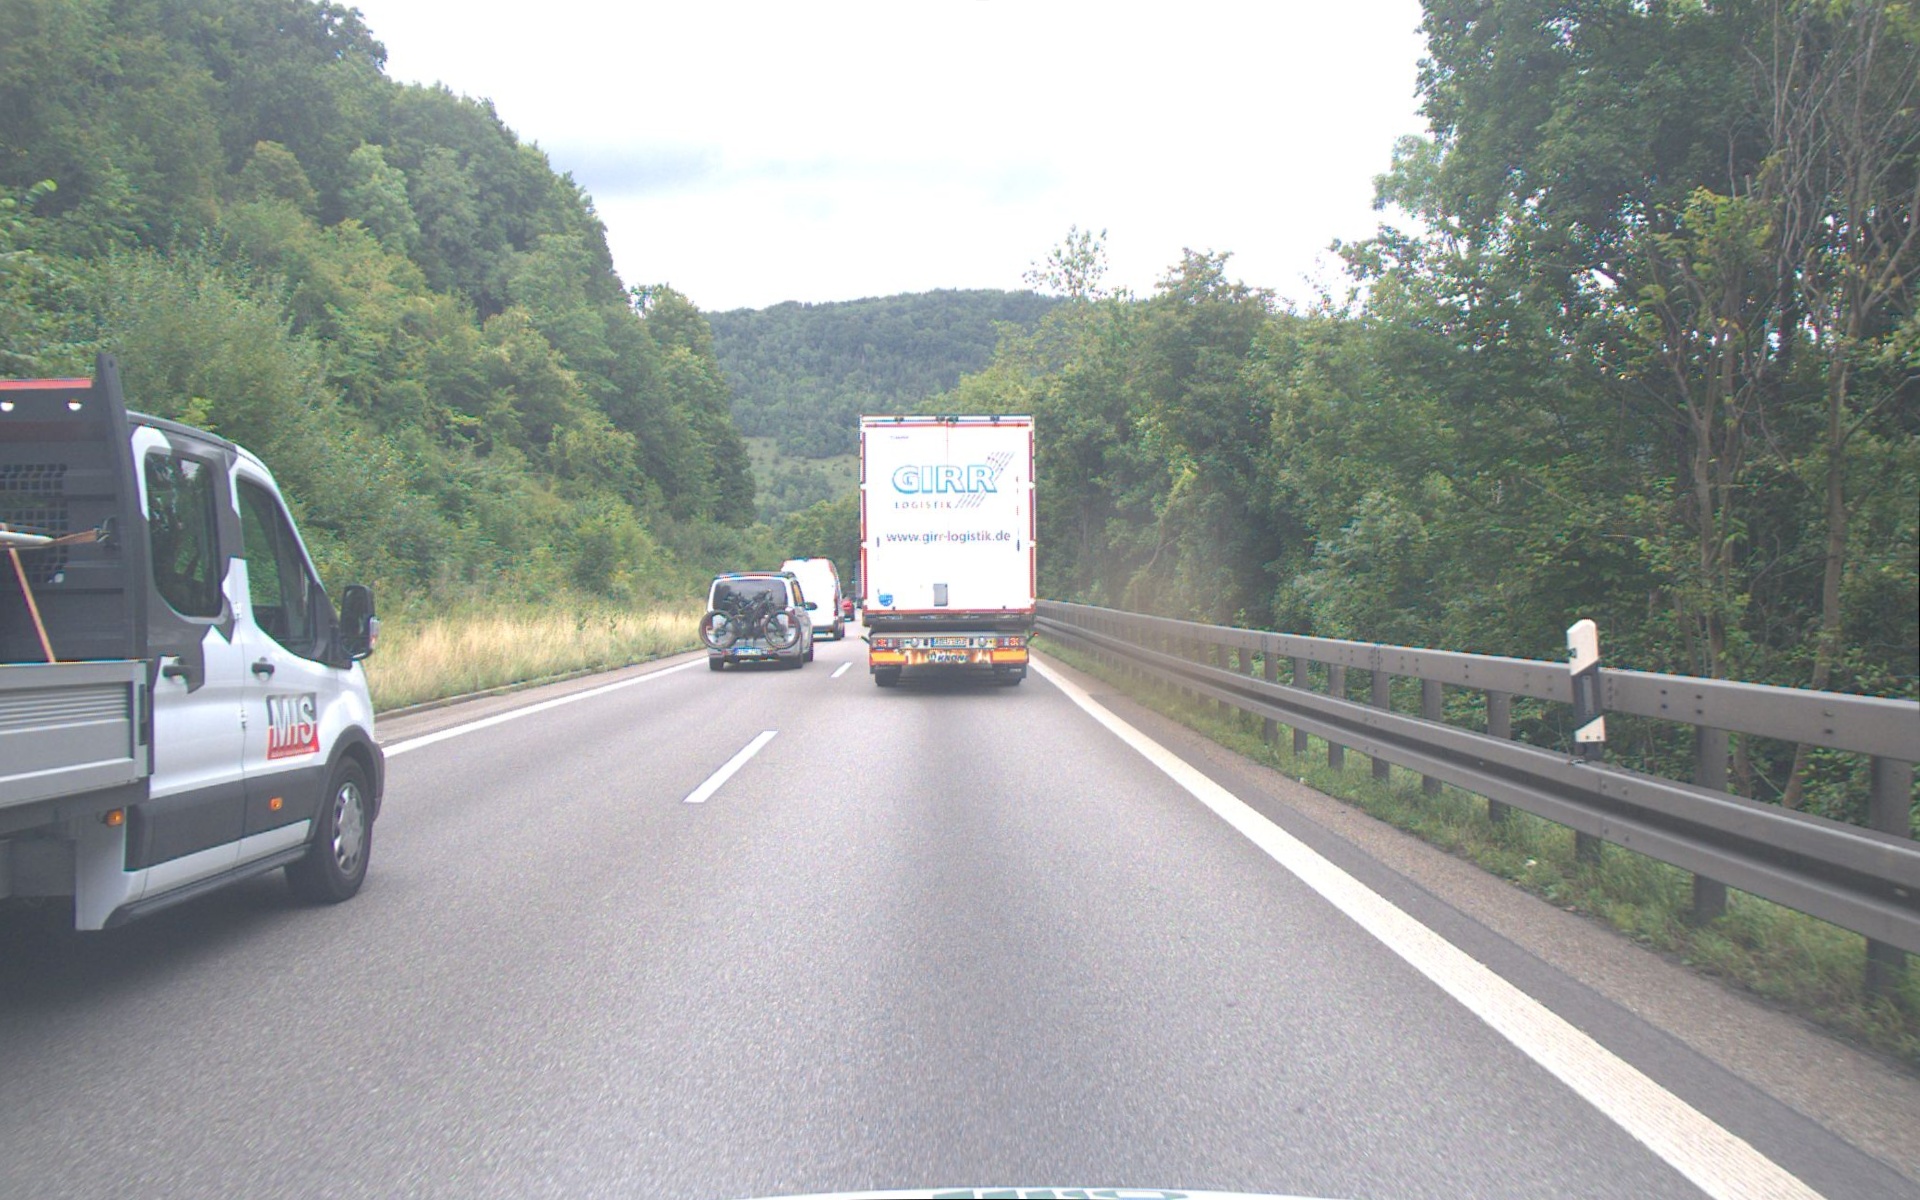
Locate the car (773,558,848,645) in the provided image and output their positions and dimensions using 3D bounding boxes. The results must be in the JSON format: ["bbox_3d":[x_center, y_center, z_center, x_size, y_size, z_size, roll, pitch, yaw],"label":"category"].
[{"bbox_3d":[-4.878,0.020,54.763,2.081,2.644,5.561,-2,0,-2],"label":"car"}]

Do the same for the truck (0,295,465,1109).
[{"bbox_3d":[-3.936,0.312,6.144,2.302,2.313,6.846,-1,0,-2],"label":"truck"}]

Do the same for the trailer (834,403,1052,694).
[{"bbox_3d":[-0.287,-0.754,28.072,3.069,4.113,9.438,0,0,-1],"label":"trailer"}]

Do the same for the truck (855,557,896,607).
[{"bbox_3d":[-7.114,-1.459,138.507,3.009,3.945,8.449,-1,0,-5],"label":"truck"}]

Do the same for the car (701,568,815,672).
[{"bbox_3d":[-4.105,0.371,34.409,1.978,1.947,5.559,-1,0,-3],"label":"car"}]

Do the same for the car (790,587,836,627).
[{"bbox_3d":[-5.965,0.293,67.502,1.650,1.540,3.763,-1,0,-2],"label":"car"}]

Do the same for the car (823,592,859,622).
[{"bbox_3d":[-6.278,0.357,87.590,1.649,1.478,3.764,-2,0,-1],"label":"car"}]
